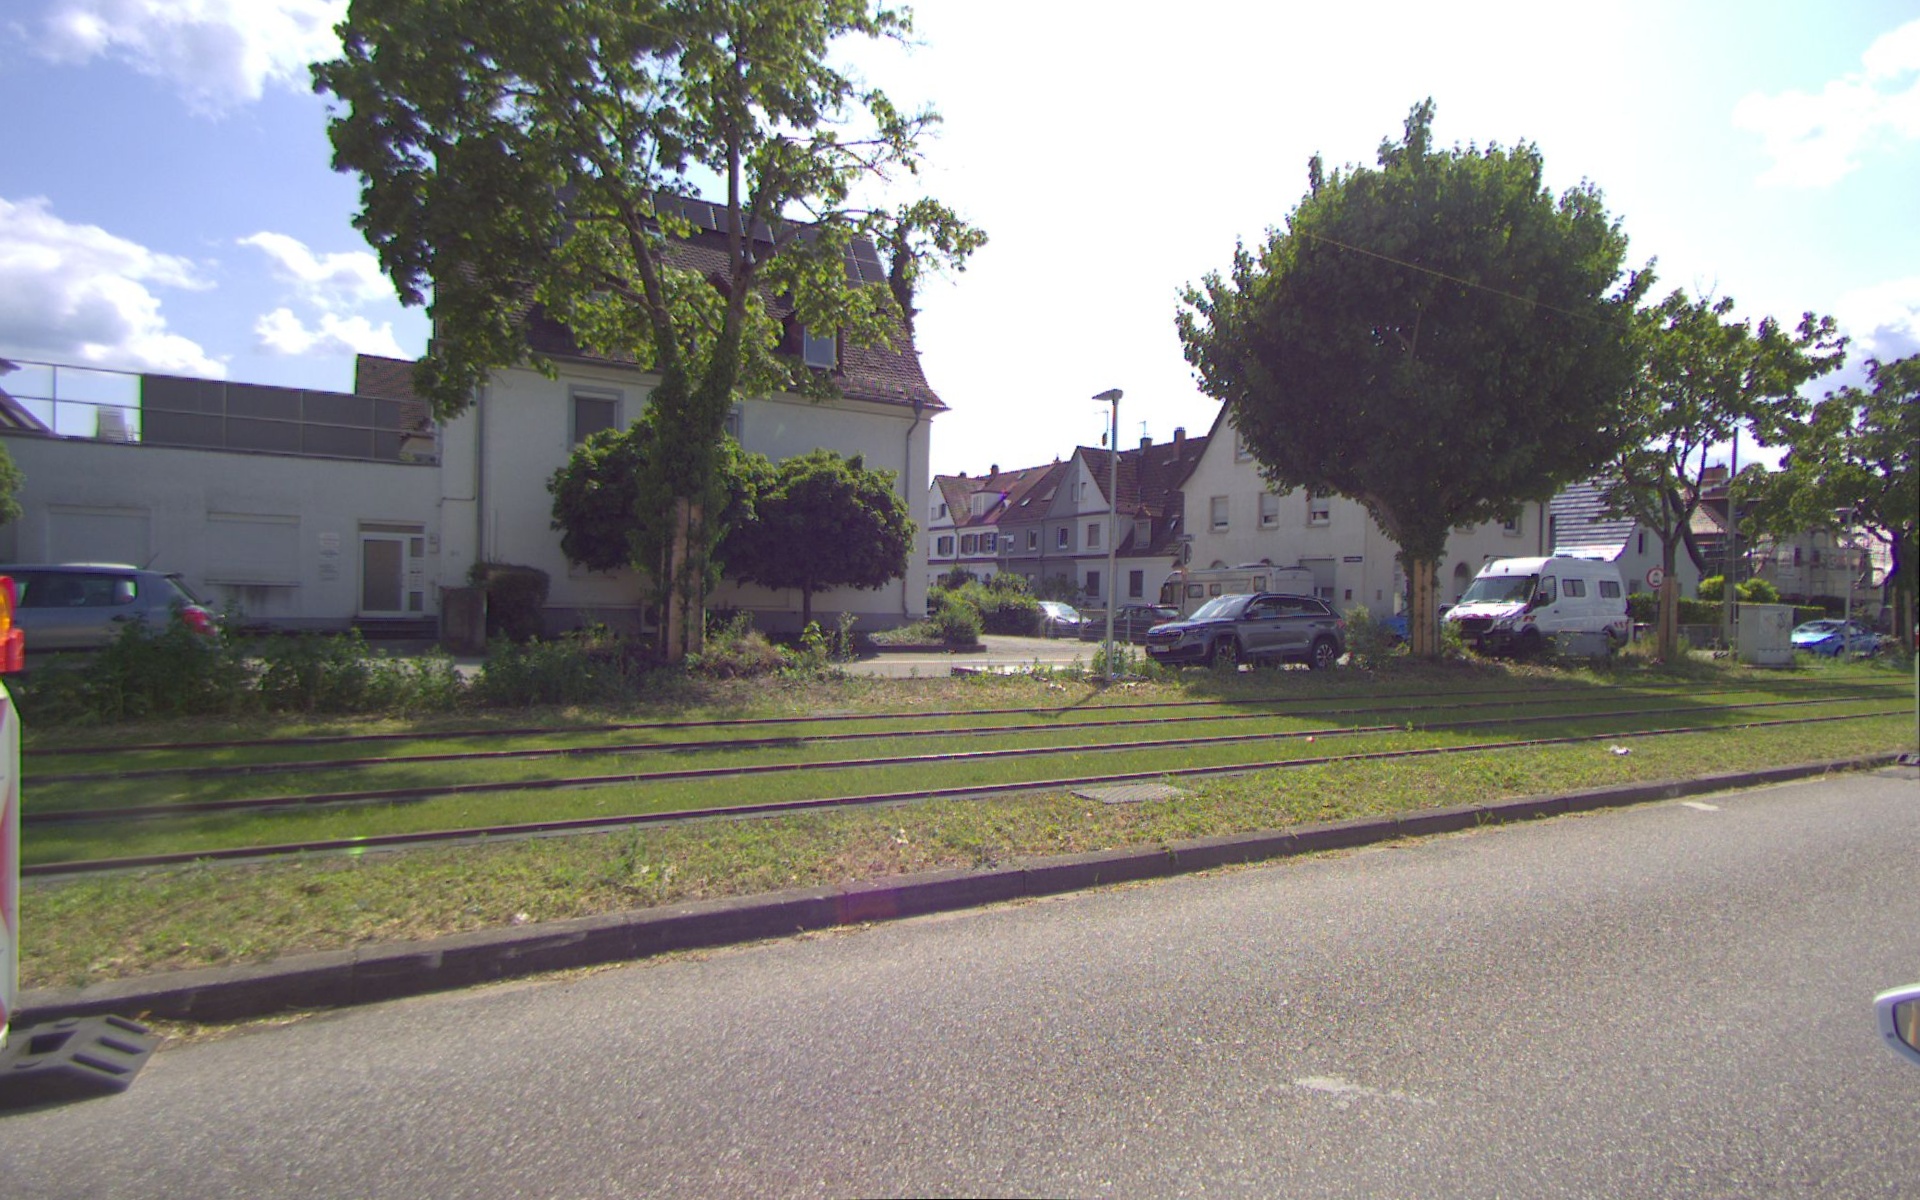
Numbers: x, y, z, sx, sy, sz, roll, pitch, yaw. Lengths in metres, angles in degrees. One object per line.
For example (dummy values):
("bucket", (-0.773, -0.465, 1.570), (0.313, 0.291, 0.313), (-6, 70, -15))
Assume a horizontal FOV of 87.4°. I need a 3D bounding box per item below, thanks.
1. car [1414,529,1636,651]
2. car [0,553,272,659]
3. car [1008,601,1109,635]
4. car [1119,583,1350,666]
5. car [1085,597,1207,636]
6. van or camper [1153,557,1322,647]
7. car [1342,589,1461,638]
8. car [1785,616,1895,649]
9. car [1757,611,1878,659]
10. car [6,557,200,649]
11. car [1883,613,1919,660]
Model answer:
("car", (14.374, -0.163, 25.399), (6.389, 2.767, 1.983), (2, 0, -31))
("car", (-10.255, 0.058, 11.514), (3.795, 1.108, 1.771), (2, 0, -33))
("car", (3.715, 0.676, 38.580), (1.976, 1.149, 3.970), (2, 0, -28))
("car", (5.636, 0.517, 20.544), (4.432, 1.526, 1.985), (2, 0, -29))
("car", (6.210, 0.537, 33.962), (2.021, 1.177, 3.969), (2, 0, -29))
("van or camper", (10.952, 0.038, 40.357), (2.602, 3.265, 6.698), (1, 1, -29))
("car", (15.900, 0.504, 36.151), (3.951, 1.598, 1.894), (2, 0, -29))
("car", (47.169, 1.737, 53.916), (1.958, 1.420, 3.970), (3, 1, -28))
("car", (28.669, 1.174, 33.571), (3.839, 1.455, 1.747), (2, 0, -27))
("car", (-16.041, 0.009, 19.058), (1.975, 1.548, 3.969), (-1, 1, -29))
("car", (37.512, 1.442, 38.572), (4.344, 1.713, 1.982), (2, 0, -33))
